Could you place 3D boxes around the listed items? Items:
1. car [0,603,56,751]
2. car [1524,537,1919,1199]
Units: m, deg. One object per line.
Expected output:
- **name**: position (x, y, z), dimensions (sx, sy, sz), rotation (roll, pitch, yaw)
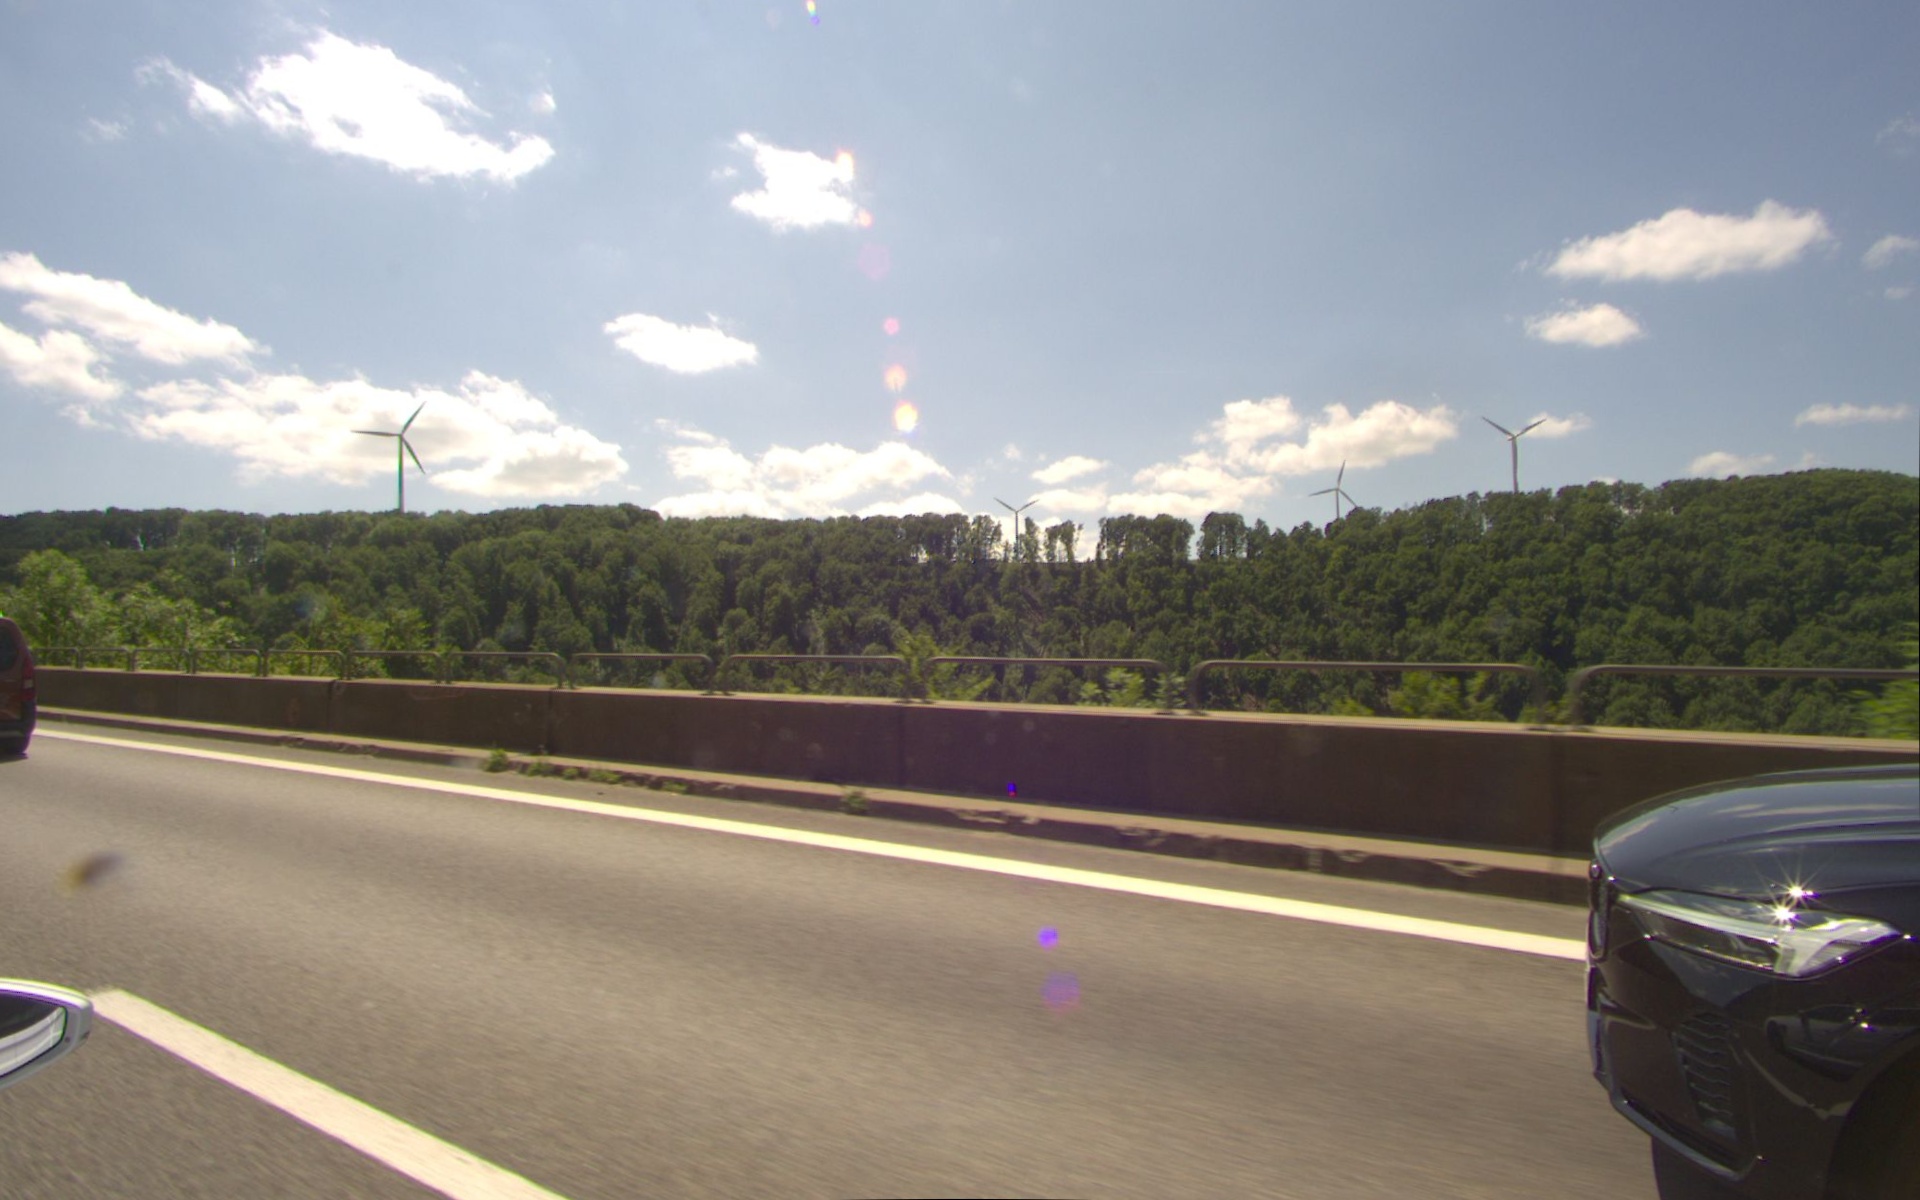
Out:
- **car**: position (-13.832, 0.989, 13.044), dimensions (4.608, 1.807, 1.830), rotation (-2, -1, 31)
- **car**: position (3.677, 0.707, 1.742), dimensions (4.597, 1.654, 1.831), rotation (-1, -2, 33)
